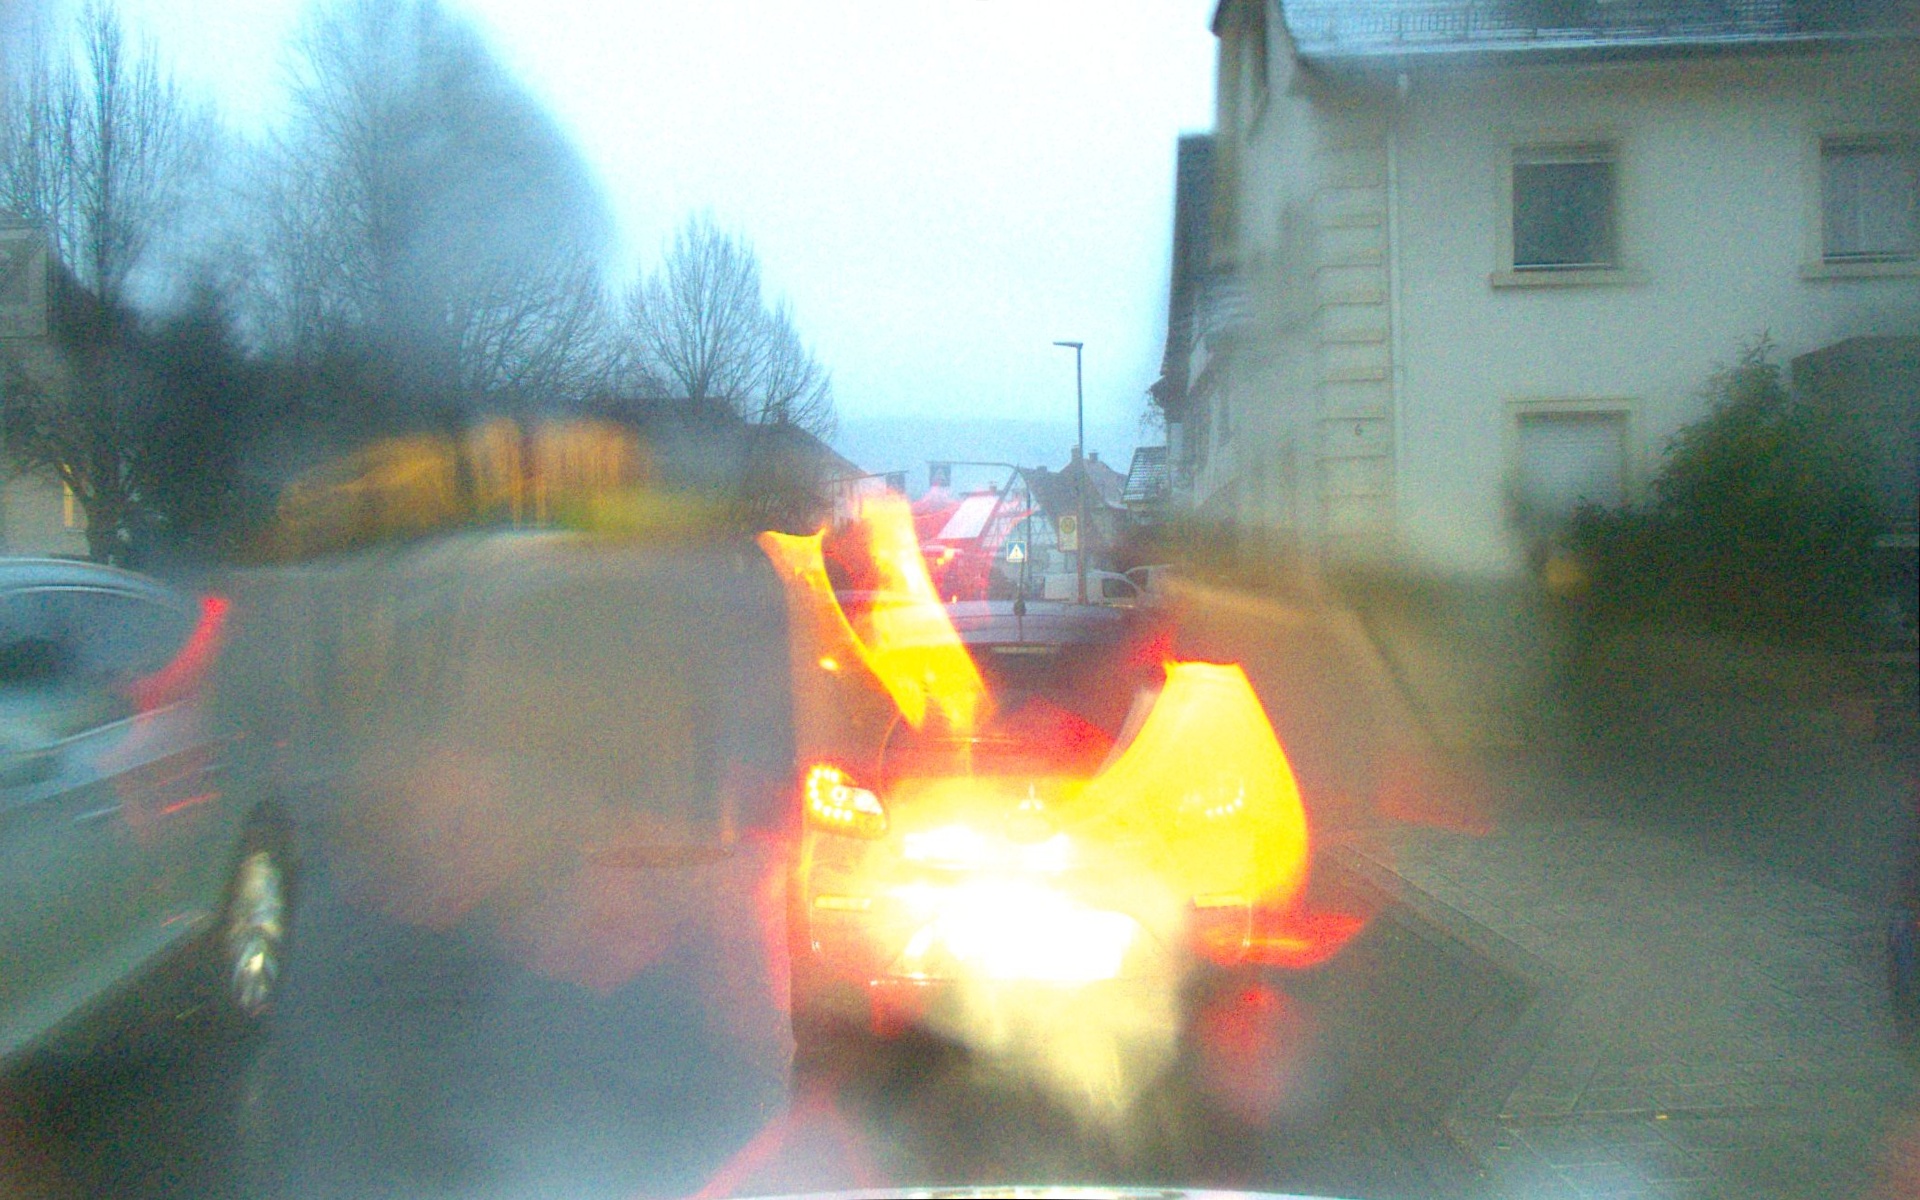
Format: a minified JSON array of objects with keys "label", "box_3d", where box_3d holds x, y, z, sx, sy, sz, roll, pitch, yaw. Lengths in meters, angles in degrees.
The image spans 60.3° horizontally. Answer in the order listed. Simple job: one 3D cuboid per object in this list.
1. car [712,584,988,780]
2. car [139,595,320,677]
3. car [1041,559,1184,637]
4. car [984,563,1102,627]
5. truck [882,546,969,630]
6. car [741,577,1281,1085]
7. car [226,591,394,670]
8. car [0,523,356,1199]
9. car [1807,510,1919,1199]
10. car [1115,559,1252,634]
[{"label":"car","box_3d":[-1.076,0.620,14.642,1.614,1.507,3.252,0,1,-20]},{"label":"car","box_3d":[-18.183,0.861,41.187,3.903,1.944,1.820,0,0,19]},{"label":"car","box_3d":[4.422,-0.057,47.840,4.010,2.200,1.915,0,0,6]},{"label":"car","box_3d":[2.947,-0.179,58.137,4.010,2.189,1.915,0,0,6]},{"label":"truck","box_3d":[-1.298,-0.497,66.643,2.952,3.183,8.003,0,0,3]},{"label":"car","box_3d":[0.133,0.684,6.617,1.604,1.507,3.378,0,0,-1]},{"label":"car","box_3d":[-17.301,0.781,44.074,3.903,2.033,1.820,0,0,19]},{"label":"car","box_3d":[-3.106,0.641,4.248,1.775,1.624,4.395,-1,1,-4]},{"label":"car","box_3d":[4.058,0.557,3.424,3.795,1.607,1.680,-1,0,-6]},{"label":"car","box_3d":[6.749,-0.117,50.139,4.010,2.189,1.915,0,0,6]}]
